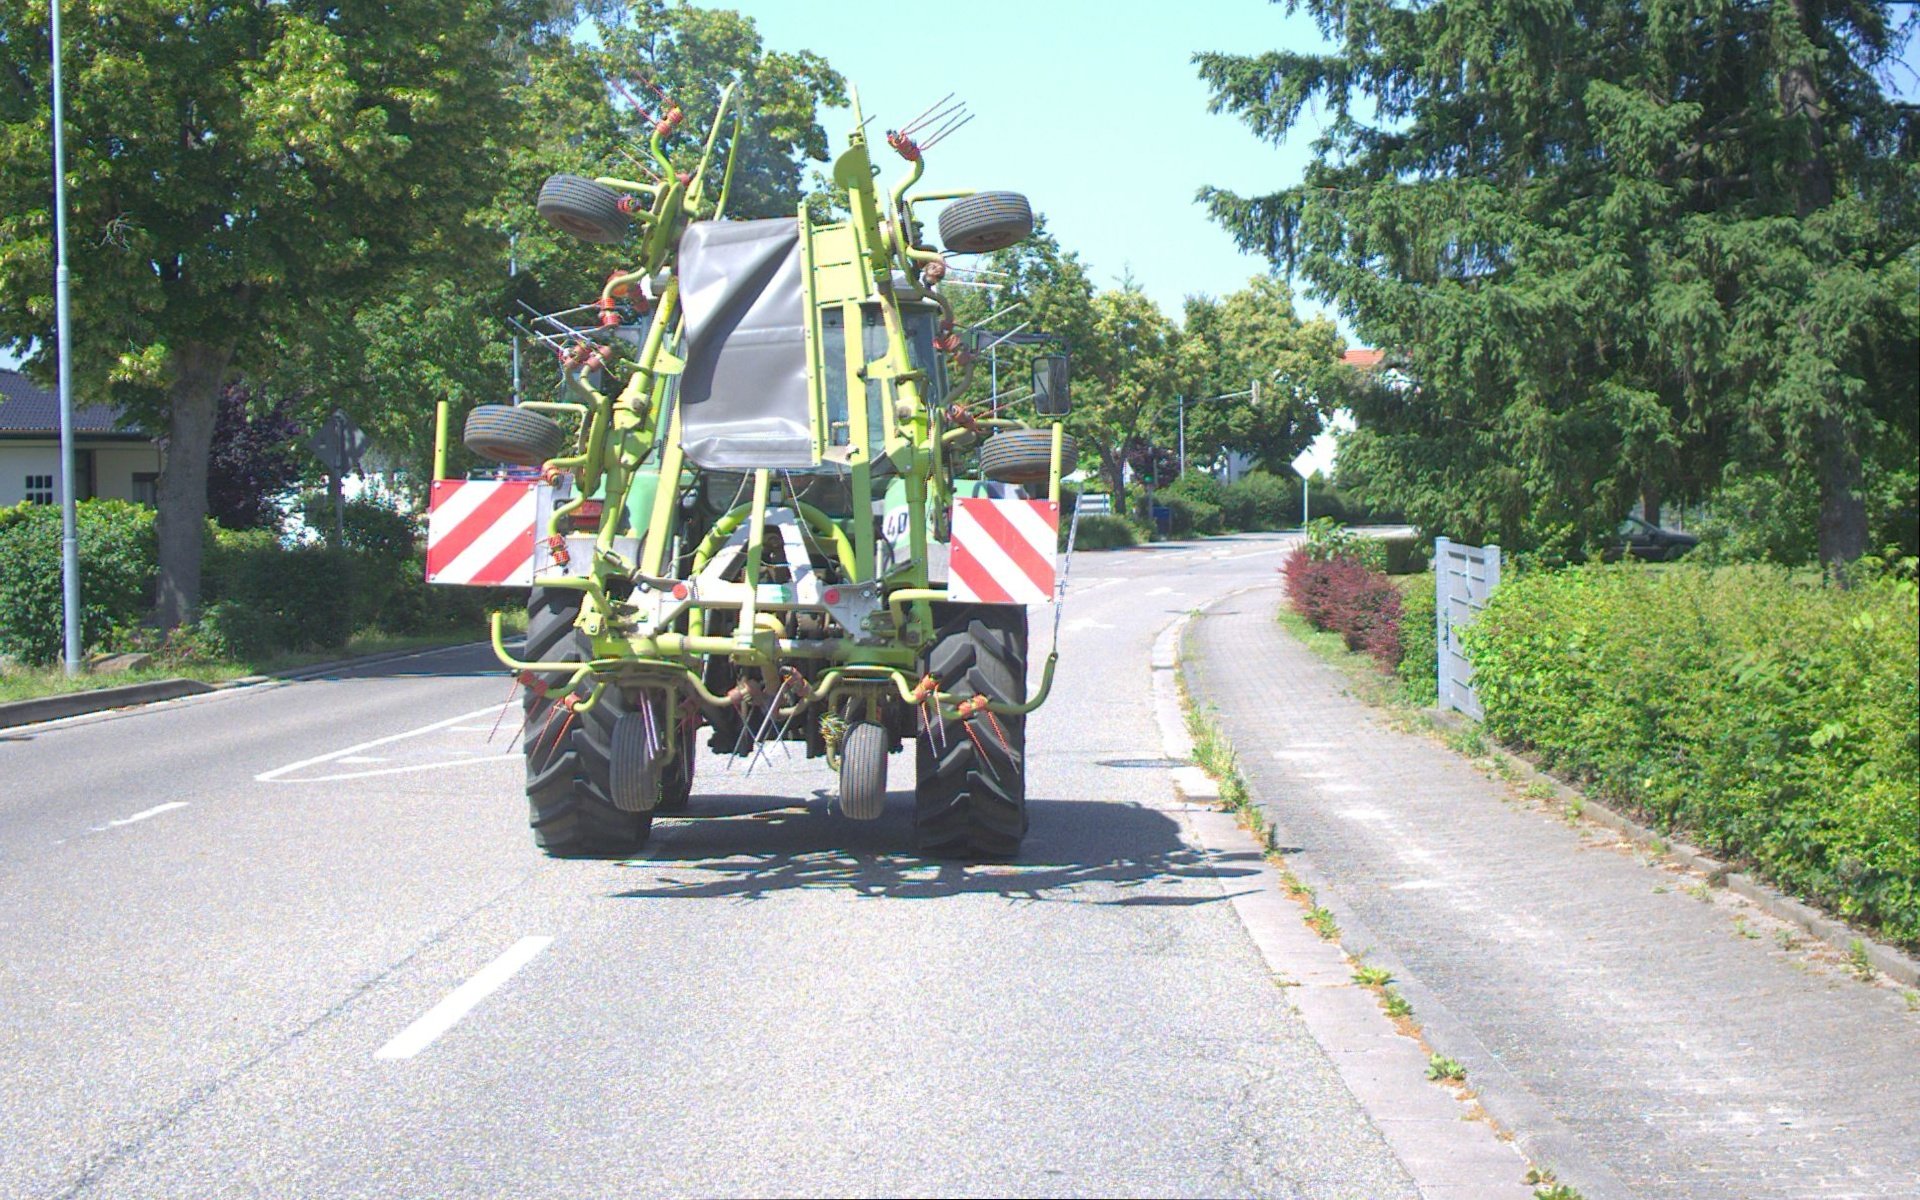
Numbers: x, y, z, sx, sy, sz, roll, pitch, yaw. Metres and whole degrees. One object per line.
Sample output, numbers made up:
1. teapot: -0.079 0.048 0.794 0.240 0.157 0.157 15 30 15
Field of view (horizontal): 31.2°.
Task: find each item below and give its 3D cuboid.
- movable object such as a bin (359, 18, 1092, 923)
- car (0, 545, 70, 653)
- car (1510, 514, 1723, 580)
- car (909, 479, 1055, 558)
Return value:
1. movable object such as a bin: -0.863 -0.580 18.320 2.853 3.529 9.701 0 1 1
2. car: -14.310 -0.024 49.317 1.689 1.525 3.999 0 1 6
3. car: 13.076 -1.064 68.551 3.810 1.290 1.684 0 1 -12
4. car: 0.524 -1.804 76.823 1.859 1.709 3.995 0 1 23
